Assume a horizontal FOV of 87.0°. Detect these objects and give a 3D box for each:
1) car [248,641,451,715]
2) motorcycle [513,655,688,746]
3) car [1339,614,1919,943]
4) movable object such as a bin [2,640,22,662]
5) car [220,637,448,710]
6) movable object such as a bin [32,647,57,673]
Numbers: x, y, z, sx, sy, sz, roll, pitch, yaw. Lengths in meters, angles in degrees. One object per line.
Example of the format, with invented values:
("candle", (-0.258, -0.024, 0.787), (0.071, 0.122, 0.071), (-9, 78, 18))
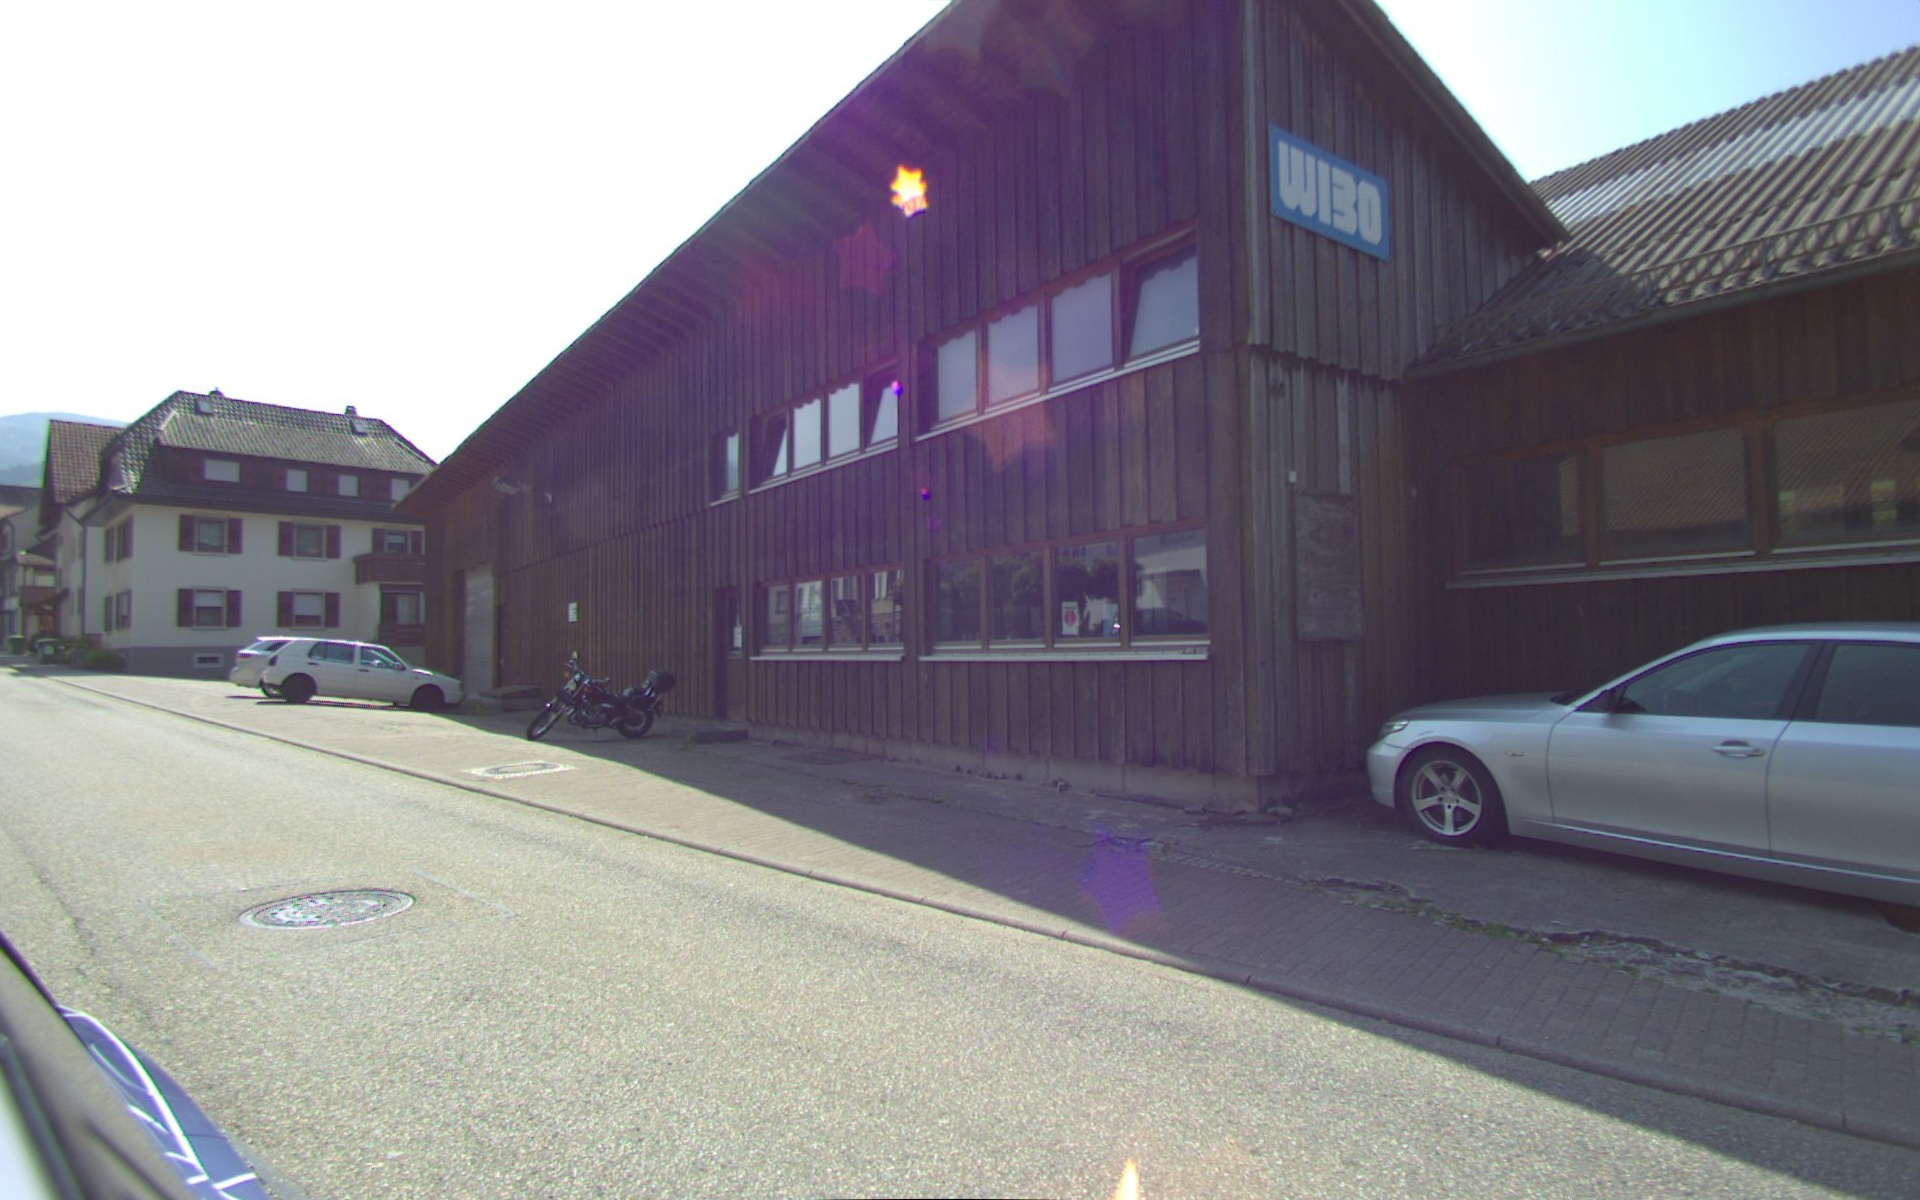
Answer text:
("car", (-13.460, 1.733, 22.450), (3.609, 1.396, 1.716), (6, -6, -32))
("motorcycle", (-5.446, 1.492, 15.459), (2.377, 1.274, 0.745), (3, -4, -38))
("car", (4.680, 0.833, 5.467), (1.705, 1.465, 4.817), (1, -3, -34))
("movable object such as a bin", (-53.141, 2.848, 56.711), (0.598, 1.190, 0.710), (-3, -5, 43))
("car", (-15.089, 1.815, 24.729), (4.367, 1.486, 1.930), (5, -5, -22))
("movable object such as a bin", (-38.554, 2.519, 42.610), (0.621, 1.075, 0.669), (-2, -3, 41))
